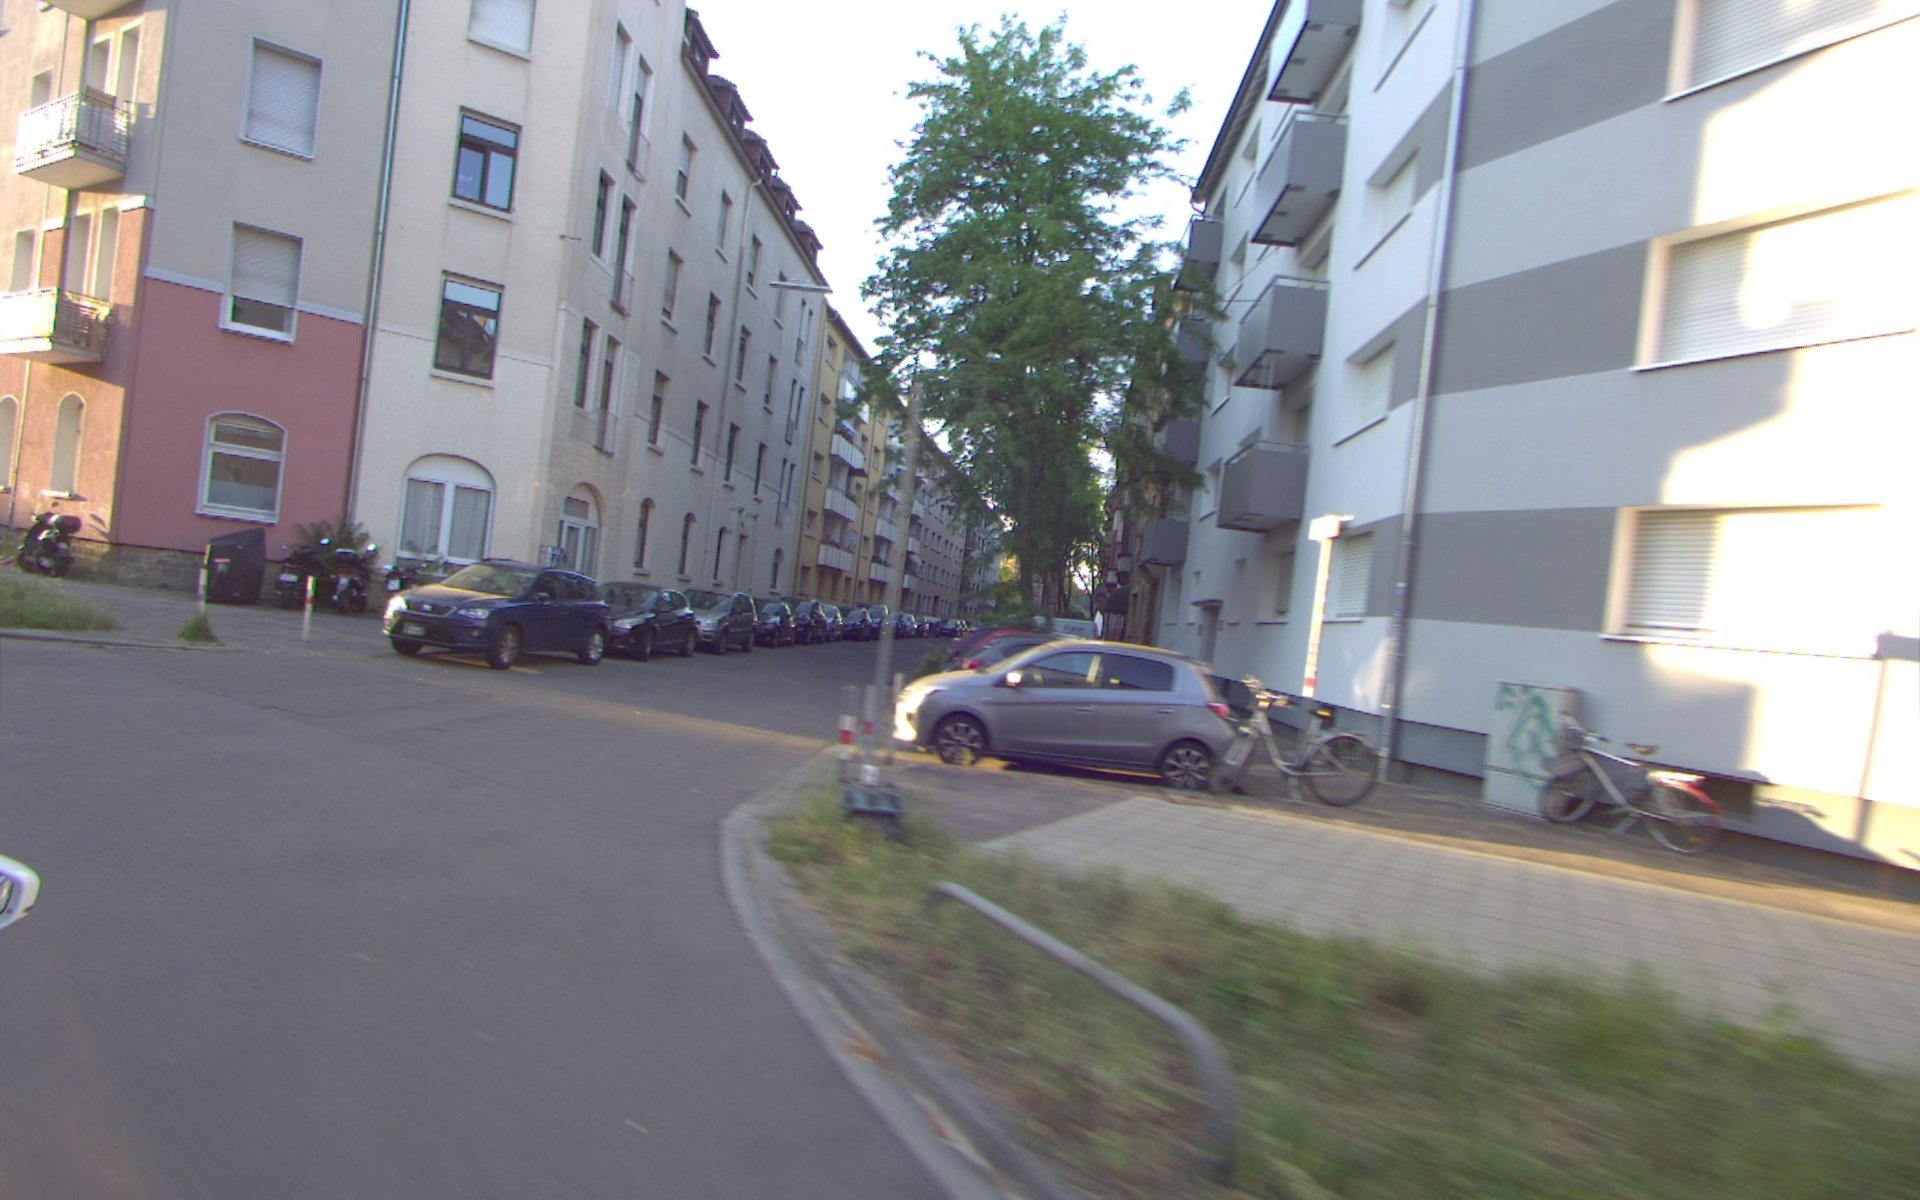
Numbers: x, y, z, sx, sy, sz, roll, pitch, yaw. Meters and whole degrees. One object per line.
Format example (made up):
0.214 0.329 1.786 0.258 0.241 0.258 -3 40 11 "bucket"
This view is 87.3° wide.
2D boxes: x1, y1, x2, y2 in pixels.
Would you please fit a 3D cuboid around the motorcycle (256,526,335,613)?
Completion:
-12.356 -0.571 18.765 0.735 1.451 2.339 7 -1 -25 "motorcycle"

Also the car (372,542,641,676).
-6.765 0.189 15.553 1.795 1.592 4.003 7 -1 8 "car"

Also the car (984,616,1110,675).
2.919 1.495 33.483 3.924 1.415 2.002 7 -1 7 "car"

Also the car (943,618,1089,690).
1.632 1.539 29.212 3.925 1.548 2.001 7 -1 4 "car"

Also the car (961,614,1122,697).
2.113 1.427 26.528 3.925 1.604 2.001 7 -1 2 "car"

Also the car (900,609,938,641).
-2.698 1.677 66.912 1.962 1.804 4.002 7 -1 3 "car"

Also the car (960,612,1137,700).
2.074 1.320 24.224 3.925 1.548 2.001 7 -1 2 "car"

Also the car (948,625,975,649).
0.163 3.288 90.031 1.962 1.804 4.002 7 -1 3 "car"

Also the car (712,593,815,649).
-5.952 0.670 30.951 2.056 1.370 4.002 7 -1 3 "car"

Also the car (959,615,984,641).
1.140 2.663 95.239 1.962 2.036 4.006 8 -3 4 "car"

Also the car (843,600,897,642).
-4.518 1.072 51.142 1.962 1.804 4.002 7 -1 3 "car"

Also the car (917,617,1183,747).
1.445 1.281 16.443 3.924 1.481 2.001 7 -1 5 "car"

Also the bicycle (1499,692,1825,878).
6.667 1.706 9.761 0.690 1.288 2.436 7 -1 -29 "bicycle"

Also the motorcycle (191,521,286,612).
-13.083 -0.614 18.320 0.828 1.451 2.339 7 -1 -25 "motorcycle"

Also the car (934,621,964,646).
-0.828 2.697 81.385 1.962 1.804 4.002 7 -1 3 "car"

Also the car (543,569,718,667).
-6.459 0.371 20.234 1.934 1.523 4.001 7 -1 2 "car"

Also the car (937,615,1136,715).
1.602 1.354 21.615 3.925 1.534 2.001 7 -1 3 "car"

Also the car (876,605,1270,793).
1.215 1.047 11.443 3.925 1.437 2.001 7 -1 4 "car"

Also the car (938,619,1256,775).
1.822 1.273 13.934 3.924 1.504 1.848 7 -1 5 "car"

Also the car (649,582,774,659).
-6.083 0.503 25.097 1.936 1.523 4.001 7 -1 0 "car"

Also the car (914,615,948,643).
-2.103 2.125 73.903 1.962 1.804 4.002 7 -1 3 "car"

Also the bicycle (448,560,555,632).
-9.748 -0.075 21.421 1.887 1.297 0.679 8 -1 -34 "bicycle"

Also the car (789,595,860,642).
-5.447 0.770 40.831 1.962 1.604 4.002 7 -1 3 "car"

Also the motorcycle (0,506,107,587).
-17.037 -1.017 18.833 2.608 1.250 0.743 7 0 31 "motorcycle"

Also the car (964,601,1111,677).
2.704 1.394 36.097 4.898 2.038 2.190 7 0 0 "car"

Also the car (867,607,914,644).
-3.915 1.463 57.086 1.962 1.804 4.002 7 -1 3 "car"

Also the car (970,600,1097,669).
2.972 1.410 41.350 4.884 2.166 2.001 7 0 2 "car"

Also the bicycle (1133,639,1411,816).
3.076 1.245 10.026 2.458 1.400 0.516 7 0 1 "bicycle"

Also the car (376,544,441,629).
-10.803 -0.298 19.798 0.836 1.474 2.760 7 -1 -26 "car"

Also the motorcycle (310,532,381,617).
-11.805 -0.501 19.409 0.735 1.451 2.637 7 -1 -25 "motorcycle"

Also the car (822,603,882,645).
-4.883 1.098 46.021 1.962 1.604 4.002 7 -1 3 "car"

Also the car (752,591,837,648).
-5.772 0.719 35.544 1.962 1.670 4.002 7 -1 3 "car"
